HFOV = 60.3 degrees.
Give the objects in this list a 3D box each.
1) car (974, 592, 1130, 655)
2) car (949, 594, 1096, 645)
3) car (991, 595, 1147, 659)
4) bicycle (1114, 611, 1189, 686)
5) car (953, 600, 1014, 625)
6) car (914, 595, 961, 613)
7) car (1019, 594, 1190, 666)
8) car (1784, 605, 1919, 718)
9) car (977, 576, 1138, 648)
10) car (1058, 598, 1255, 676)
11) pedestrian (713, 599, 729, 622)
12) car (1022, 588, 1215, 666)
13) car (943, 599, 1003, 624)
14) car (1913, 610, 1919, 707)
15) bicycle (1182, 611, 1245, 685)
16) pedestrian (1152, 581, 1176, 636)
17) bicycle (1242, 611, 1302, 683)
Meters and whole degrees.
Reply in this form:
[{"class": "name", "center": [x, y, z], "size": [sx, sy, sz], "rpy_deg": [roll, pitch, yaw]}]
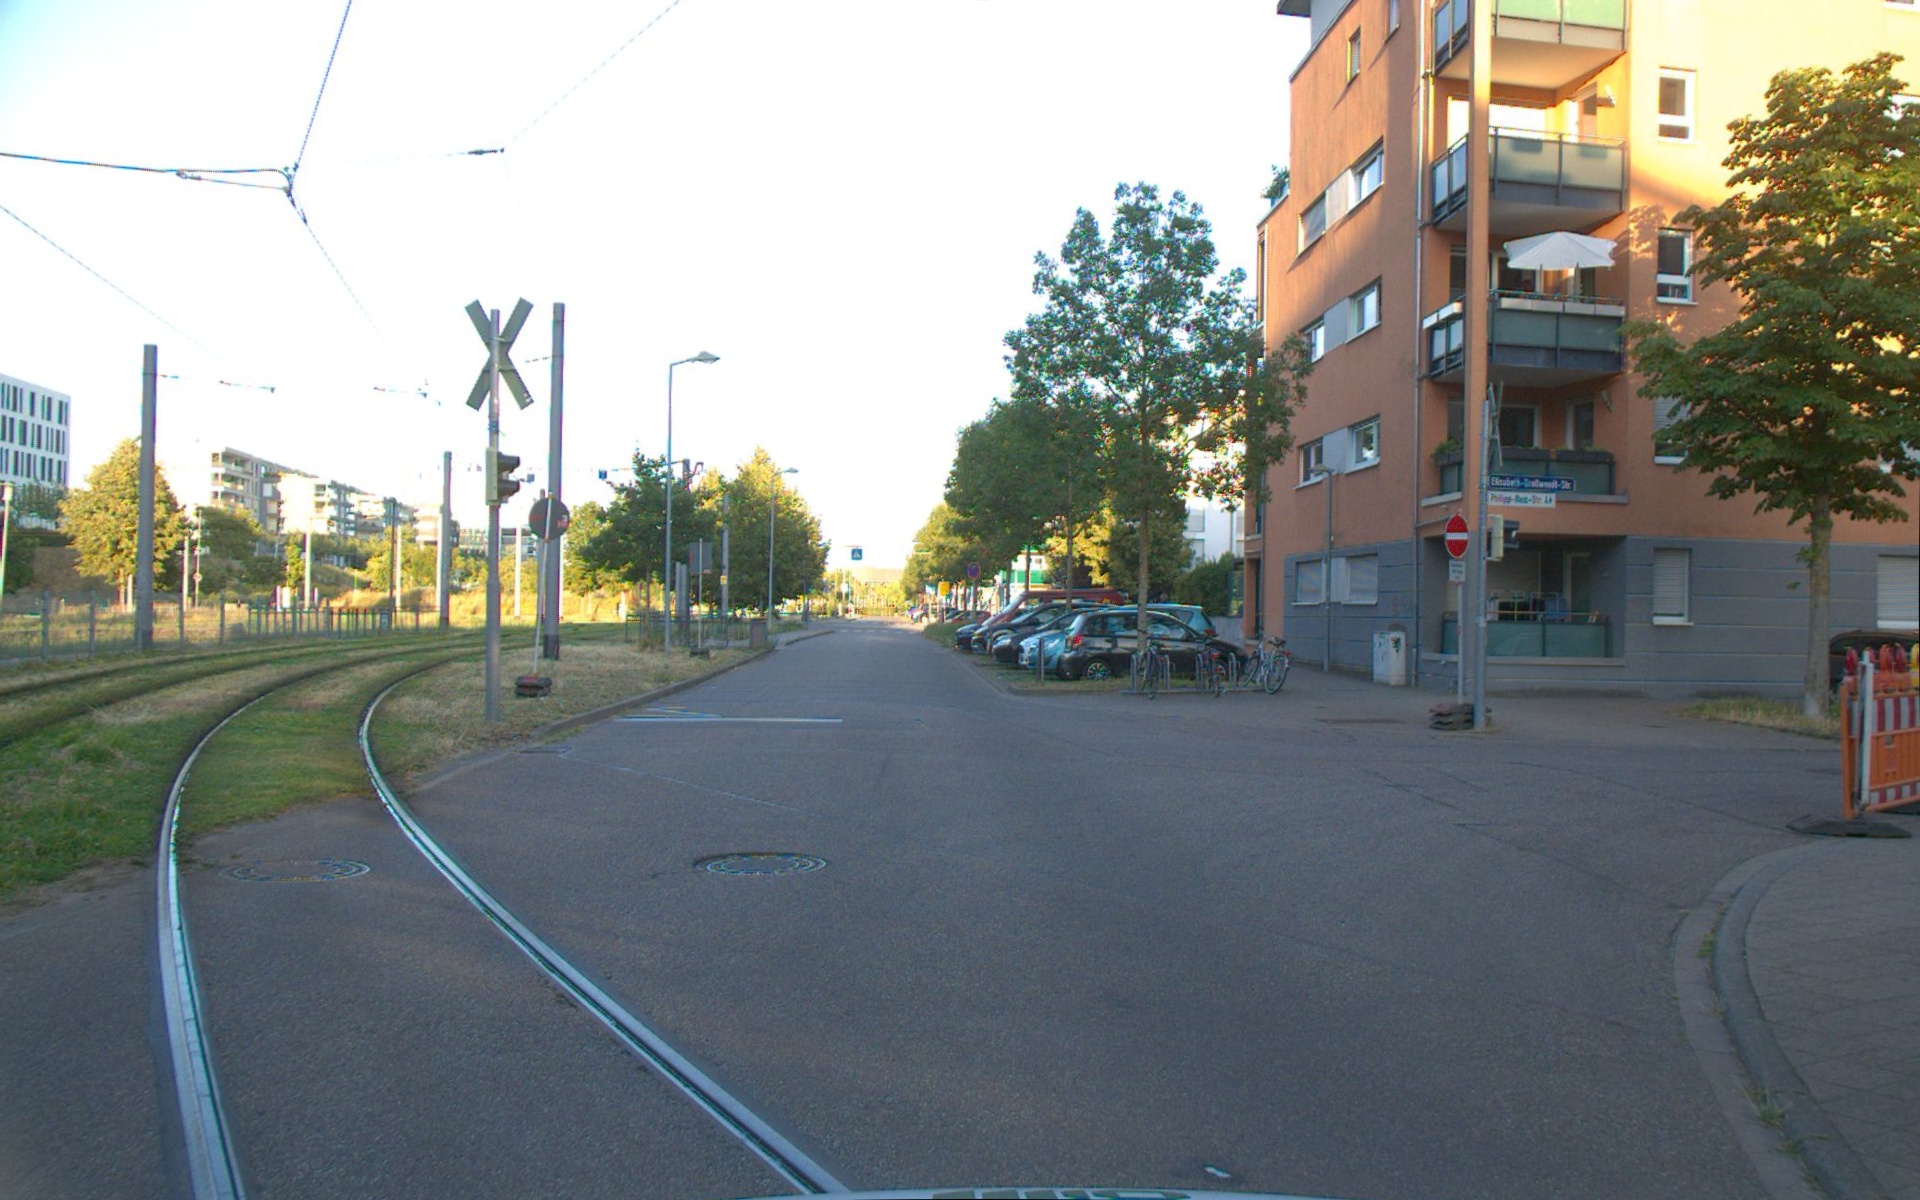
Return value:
[{"class": "car", "center": [2.509, 0.629, 45.730], "size": [4.131, 1.596, 1.791], "rpy_deg": [-1, 0, -3]}, {"class": "car", "center": [1.984, 0.613, 53.487], "size": [4.576, 1.584, 1.810], "rpy_deg": [1, 0, -4]}, {"class": "car", "center": [2.684, 0.693, 41.186], "size": [3.698, 1.522, 1.538], "rpy_deg": [1, -2, -3]}, {"class": "bicycle", "center": [3.346, 0.837, 29.069], "size": [0.704, 1.172, 1.892], "rpy_deg": [-1, 2, -13]}, {"class": "car", "center": [1.469, 0.773, 104.672], "size": [3.728, 1.535, 1.677], "rpy_deg": [0, 0, -5]}, {"class": "car", "center": [-2.121, 0.348, 155.012], "size": [4.394, 1.624, 1.999], "rpy_deg": [0, 0, -2]}, {"class": "car", "center": [3.341, 0.687, 38.627], "size": [3.799, 1.596, 1.619], "rpy_deg": [1, 0, -3]}, {"class": "car", "center": [14.953, 0.938, 24.991], "size": [1.958, 1.622, 4.801], "rpy_deg": [1, 0, -11]}, {"class": "car", "center": [2.965, 0.360, 51.111], "size": [4.820, 2.154, 2.016], "rpy_deg": [1, 0, -2]}, {"class": "car", "center": [3.941, 0.738, 33.489], "size": [3.678, 1.499, 1.611], "rpy_deg": [1, 0, -8]}, {"class": "pedestrian", "center": [-17.881, 0.777, 123.792], "size": [1.005, 1.723, 0.754], "rpy_deg": [2, 0, -25]}, {"class": "car", "center": [3.402, 0.568, 35.863], "size": [3.969, 1.596, 1.672], "rpy_deg": [-1, 0, -3]}, {"class": "car", "center": [0.837, 0.740, 107.493], "size": [3.728, 1.535, 1.677], "rpy_deg": [0, 0, -5]}, {"class": "car", "center": [17.564, 1.012, 25.855], "size": [1.958, 1.622, 4.801], "rpy_deg": [1, 0, -11]}, {"class": "bicycle", "center": [4.416, 0.817, 28.929], "size": [0.665, 1.172, 1.926], "rpy_deg": [-1, 2, -4]}, {"class": "pedestrian", "center": [6.626, 0.265, 53.735], "size": [0.655, 1.773, 0.699], "rpy_deg": [1, 0, -3]}, {"class": "bicycle", "center": [5.550, 0.816, 29.545], "size": [0.518, 1.146, 1.961], "rpy_deg": [2, 2, -4]}]
